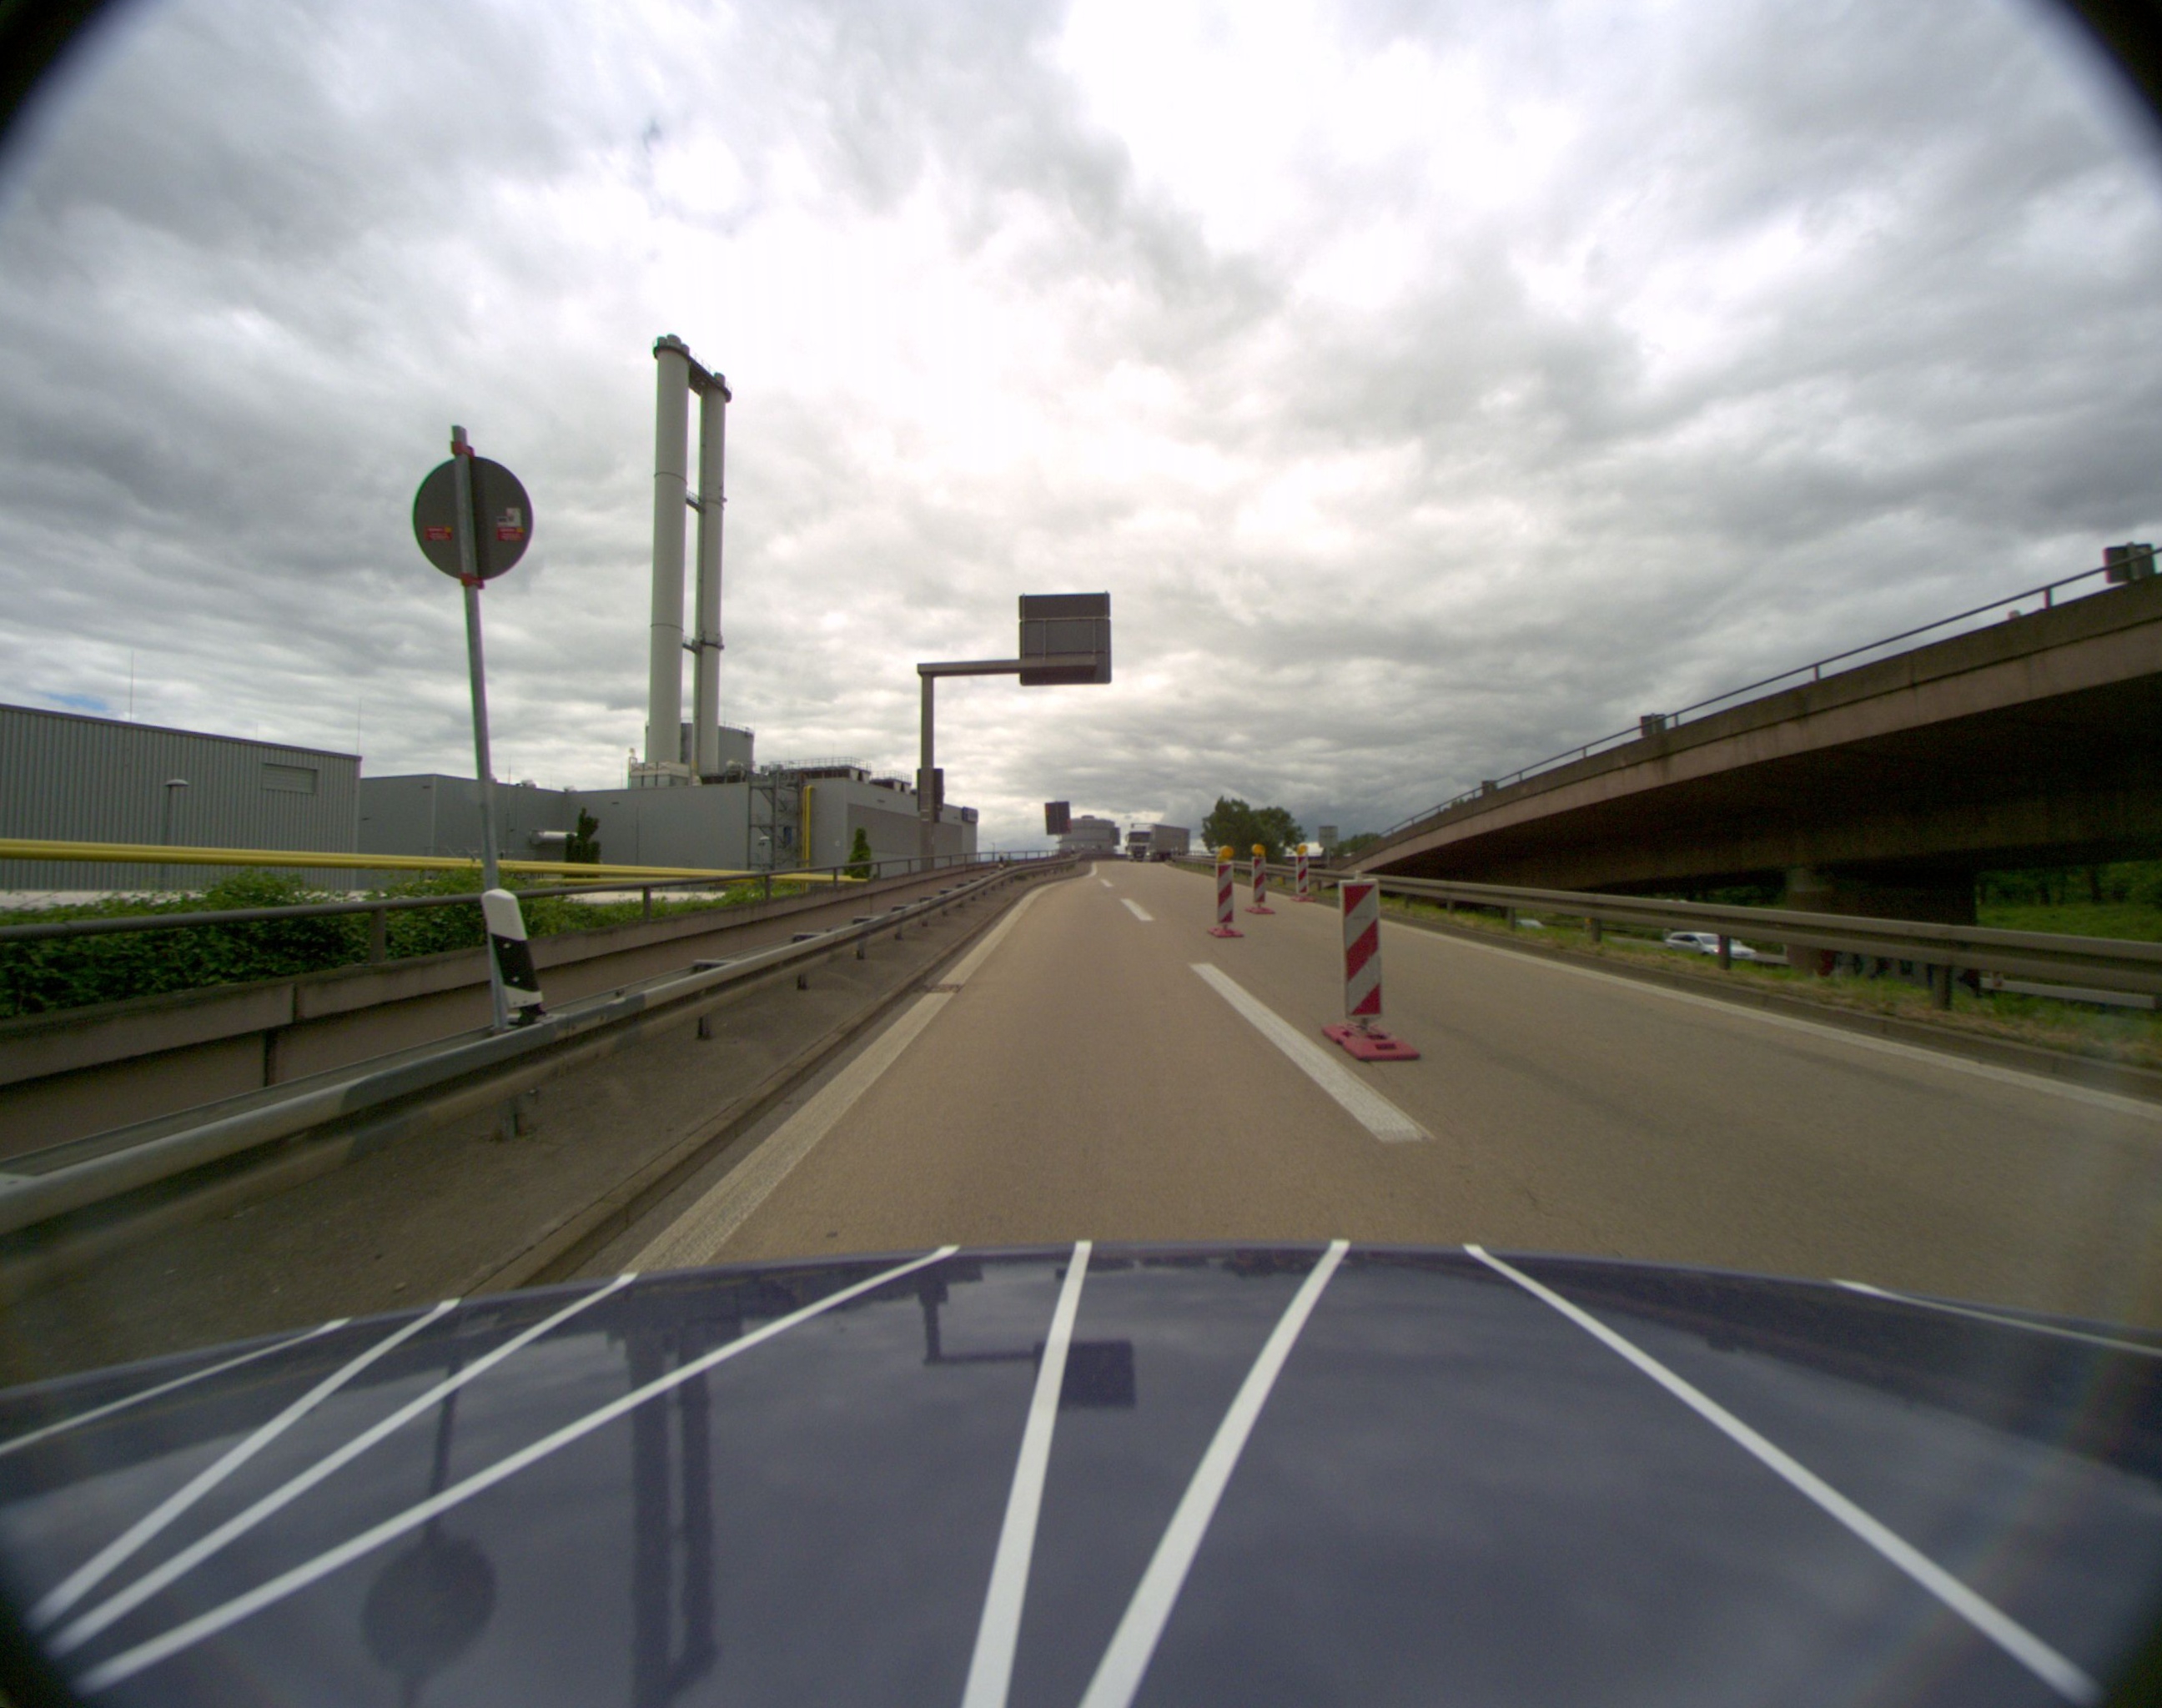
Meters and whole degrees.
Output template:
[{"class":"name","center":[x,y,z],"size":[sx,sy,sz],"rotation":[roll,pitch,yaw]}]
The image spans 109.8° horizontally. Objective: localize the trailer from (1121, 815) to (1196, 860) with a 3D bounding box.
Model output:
[{"class":"trailer","center":[8.880,-1.633,84.264],"size":[4.118,4.218,13.918],"rotation":[-2,-2,23]}]

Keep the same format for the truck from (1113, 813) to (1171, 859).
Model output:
[{"class":"truck","center":[6.316,-1.780,77.831],"size":[4.158,4.276,5.976],"rotation":[-2,-2,23]}]

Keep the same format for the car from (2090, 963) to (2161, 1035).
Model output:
[{"class":"car","center":[27.285,3.584,17.758],"size":[2.041,1.605,4.299],"rotation":[-1,-2,10]}]
